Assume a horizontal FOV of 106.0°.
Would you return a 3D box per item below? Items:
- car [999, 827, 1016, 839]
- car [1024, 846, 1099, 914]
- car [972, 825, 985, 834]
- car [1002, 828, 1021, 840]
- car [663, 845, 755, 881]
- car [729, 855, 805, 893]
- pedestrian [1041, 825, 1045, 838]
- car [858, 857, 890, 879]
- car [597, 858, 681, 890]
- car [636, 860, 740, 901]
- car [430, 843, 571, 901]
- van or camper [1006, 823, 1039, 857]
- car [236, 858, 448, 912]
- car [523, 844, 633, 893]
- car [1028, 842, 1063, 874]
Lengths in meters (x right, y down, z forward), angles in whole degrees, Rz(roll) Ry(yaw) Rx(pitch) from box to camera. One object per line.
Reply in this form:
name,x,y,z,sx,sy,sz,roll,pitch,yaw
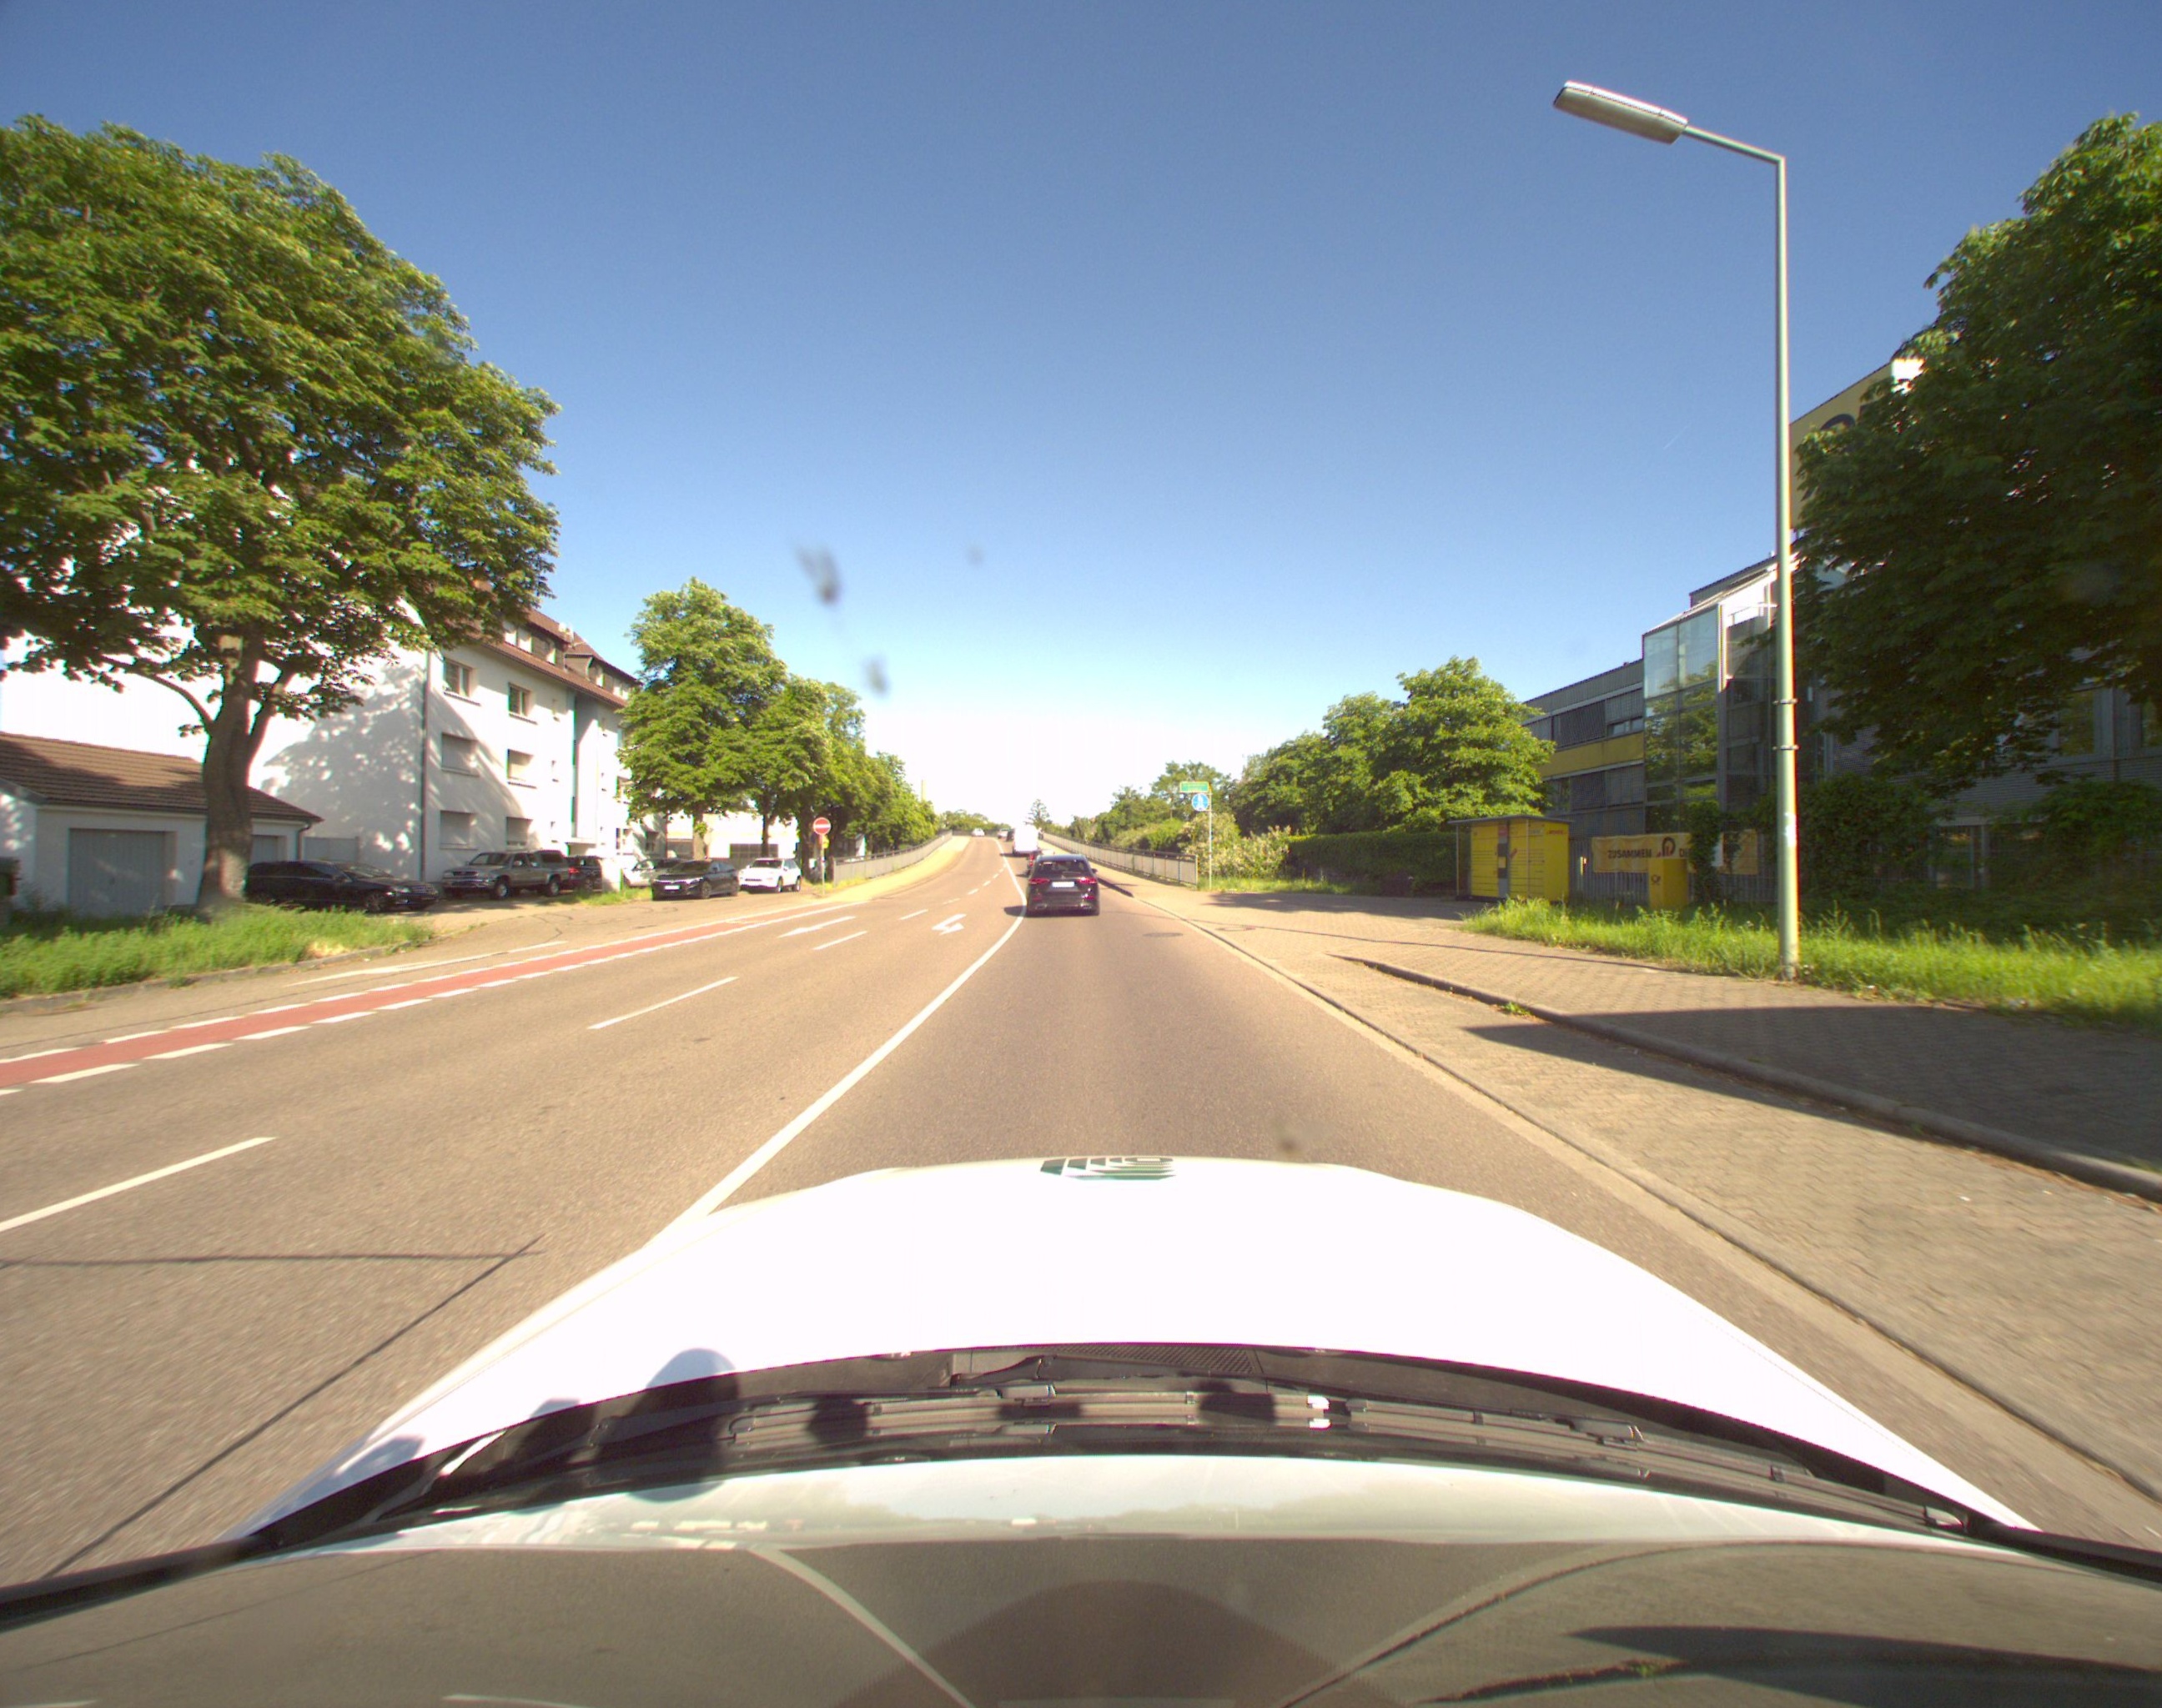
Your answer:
car,-11.352,-3.274,126.599,1.984,1.680,4.005,-1,-1,4
car,-0.425,0.623,21.028,1.763,1.592,3.989,0,0,1
car,-19.402,-4.633,153.863,1.882,1.543,3.976,0,0,-18
car,-9.325,-2.684,109.732,1.909,1.488,4.275,-1,-1,4
car,-27.898,0.625,61.222,5.923,2.561,2.111,0,0,-43
car,-15.331,0.921,40.132,2.034,1.729,5.228,1,0,-4
pedestrian,-5.064,-2.933,107.427,0.471,1.750,0.652,0,0,-7
car,-19.163,1.263,75.577,1.918,1.991,4.254,0,0,-2
car,-22.302,0.981,41.125,3.682,1.510,1.767,0,0,-32
car,-15.286,0.975,32.046,2.034,1.464,4.953,0,0,-5
car,-21.121,0.610,29.935,1.743,1.930,5.096,0,0,-3
van or camper,-5.138,-1.178,70.692,2.225,2.739,7.058,0,0,-9
car,-20.678,0.856,22.965,3.985,1.429,1.902,0,-1,-9
car,-21.454,0.596,35.009,2.066,1.930,4.779,0,0,-5
car,-1.957,0.242,44.294,1.801,1.640,3.995,0,-1,-3
